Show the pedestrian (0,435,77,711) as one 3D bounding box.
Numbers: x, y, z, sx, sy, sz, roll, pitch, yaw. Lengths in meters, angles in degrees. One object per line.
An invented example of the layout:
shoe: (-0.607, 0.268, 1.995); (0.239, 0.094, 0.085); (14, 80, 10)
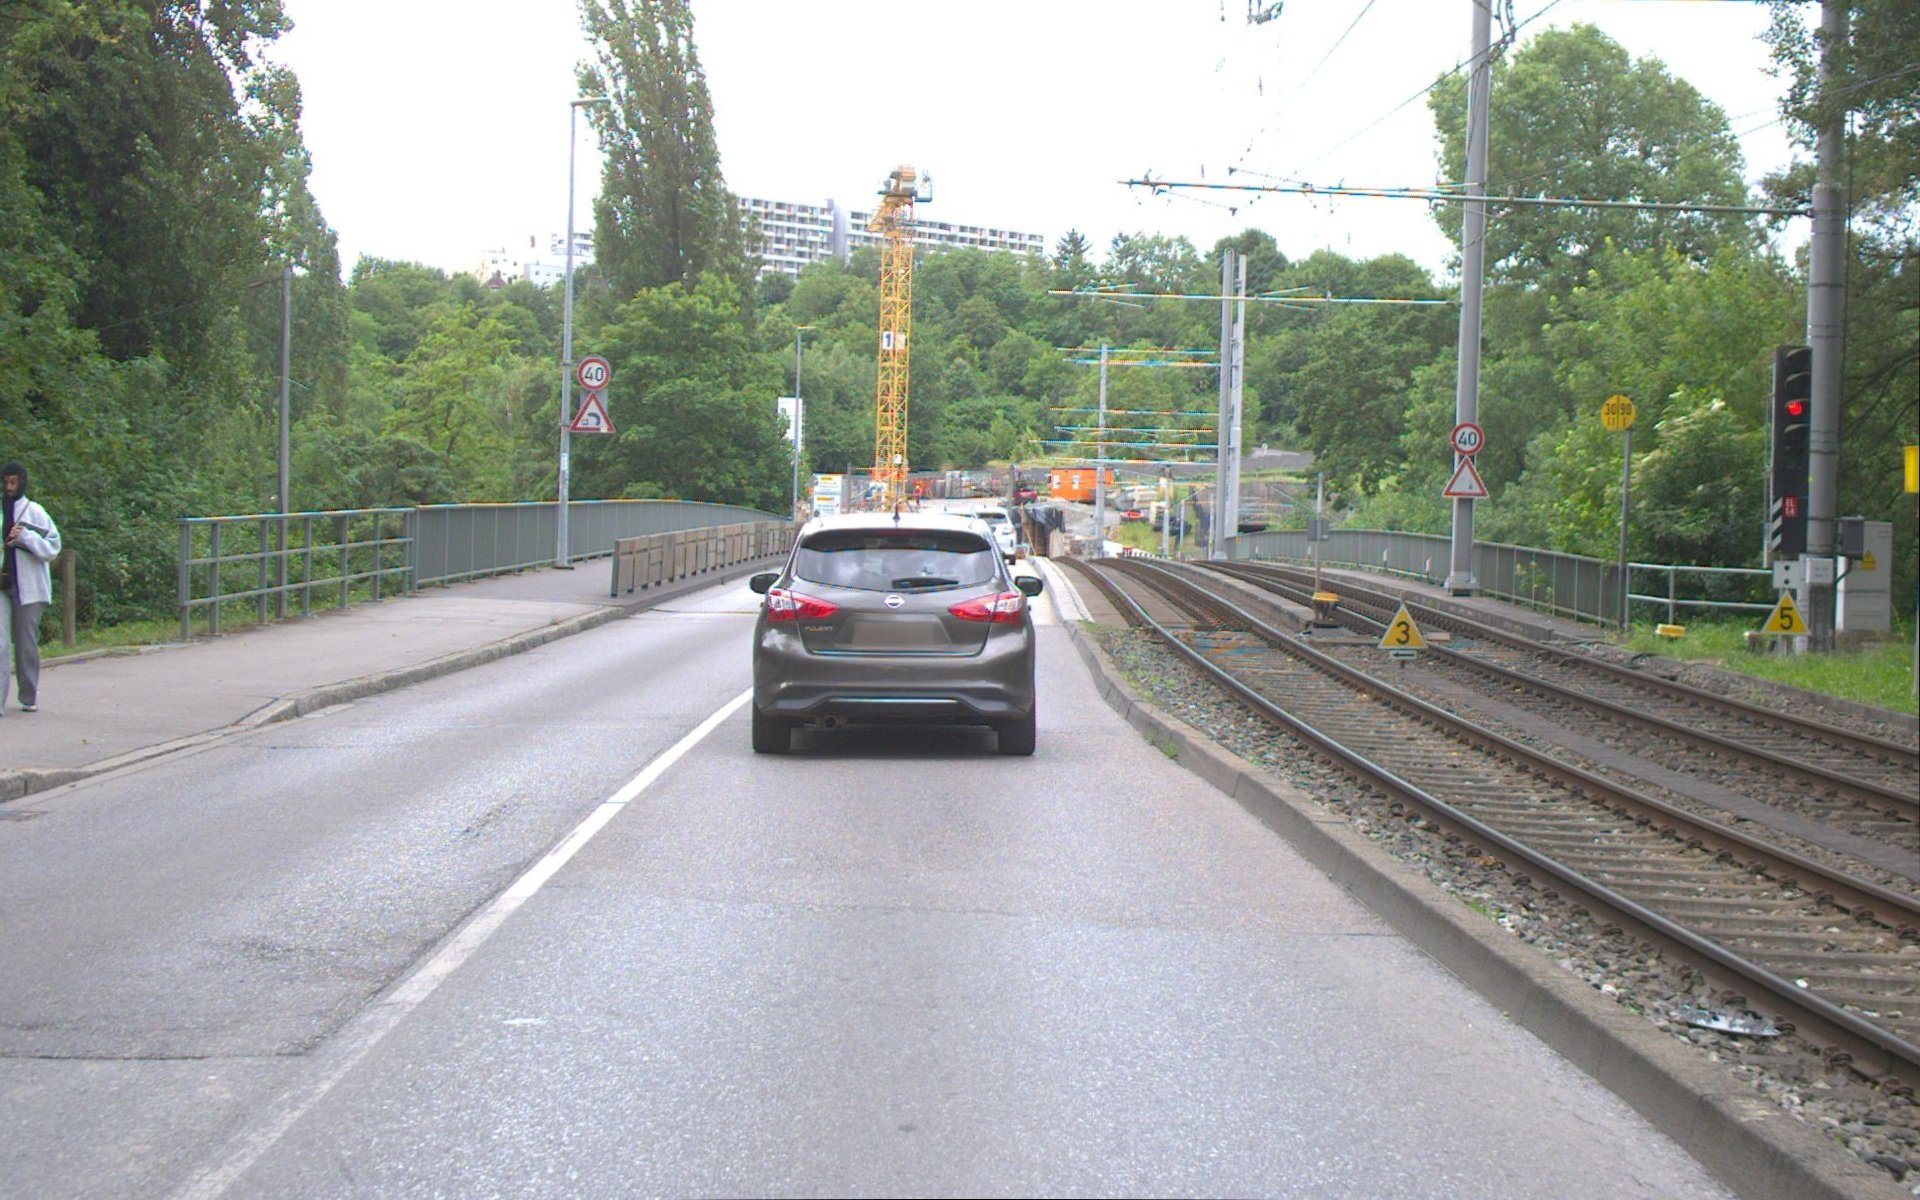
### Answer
pedestrian: (-6.300, -0.196, 22.752); (0.551, 1.759, 0.858); (5, 2, -1)

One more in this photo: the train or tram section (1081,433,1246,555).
train or tram section: (9.726, -4.989, 168.907); (3.027, 5.164, 23.061); (3, 0, -9)

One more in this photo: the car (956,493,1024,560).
car: (0.816, -1.955, 90.470); (1.680, 1.601, 4.309); (2, 2, 1)

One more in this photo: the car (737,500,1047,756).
car: (-0.496, 0.139, 22.583); (1.829, 1.504, 4.001); (1, 1, -3)

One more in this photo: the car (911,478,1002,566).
car: (-0.074, -1.581, 68.687); (1.680, 1.601, 4.310); (3, 2, 0)
